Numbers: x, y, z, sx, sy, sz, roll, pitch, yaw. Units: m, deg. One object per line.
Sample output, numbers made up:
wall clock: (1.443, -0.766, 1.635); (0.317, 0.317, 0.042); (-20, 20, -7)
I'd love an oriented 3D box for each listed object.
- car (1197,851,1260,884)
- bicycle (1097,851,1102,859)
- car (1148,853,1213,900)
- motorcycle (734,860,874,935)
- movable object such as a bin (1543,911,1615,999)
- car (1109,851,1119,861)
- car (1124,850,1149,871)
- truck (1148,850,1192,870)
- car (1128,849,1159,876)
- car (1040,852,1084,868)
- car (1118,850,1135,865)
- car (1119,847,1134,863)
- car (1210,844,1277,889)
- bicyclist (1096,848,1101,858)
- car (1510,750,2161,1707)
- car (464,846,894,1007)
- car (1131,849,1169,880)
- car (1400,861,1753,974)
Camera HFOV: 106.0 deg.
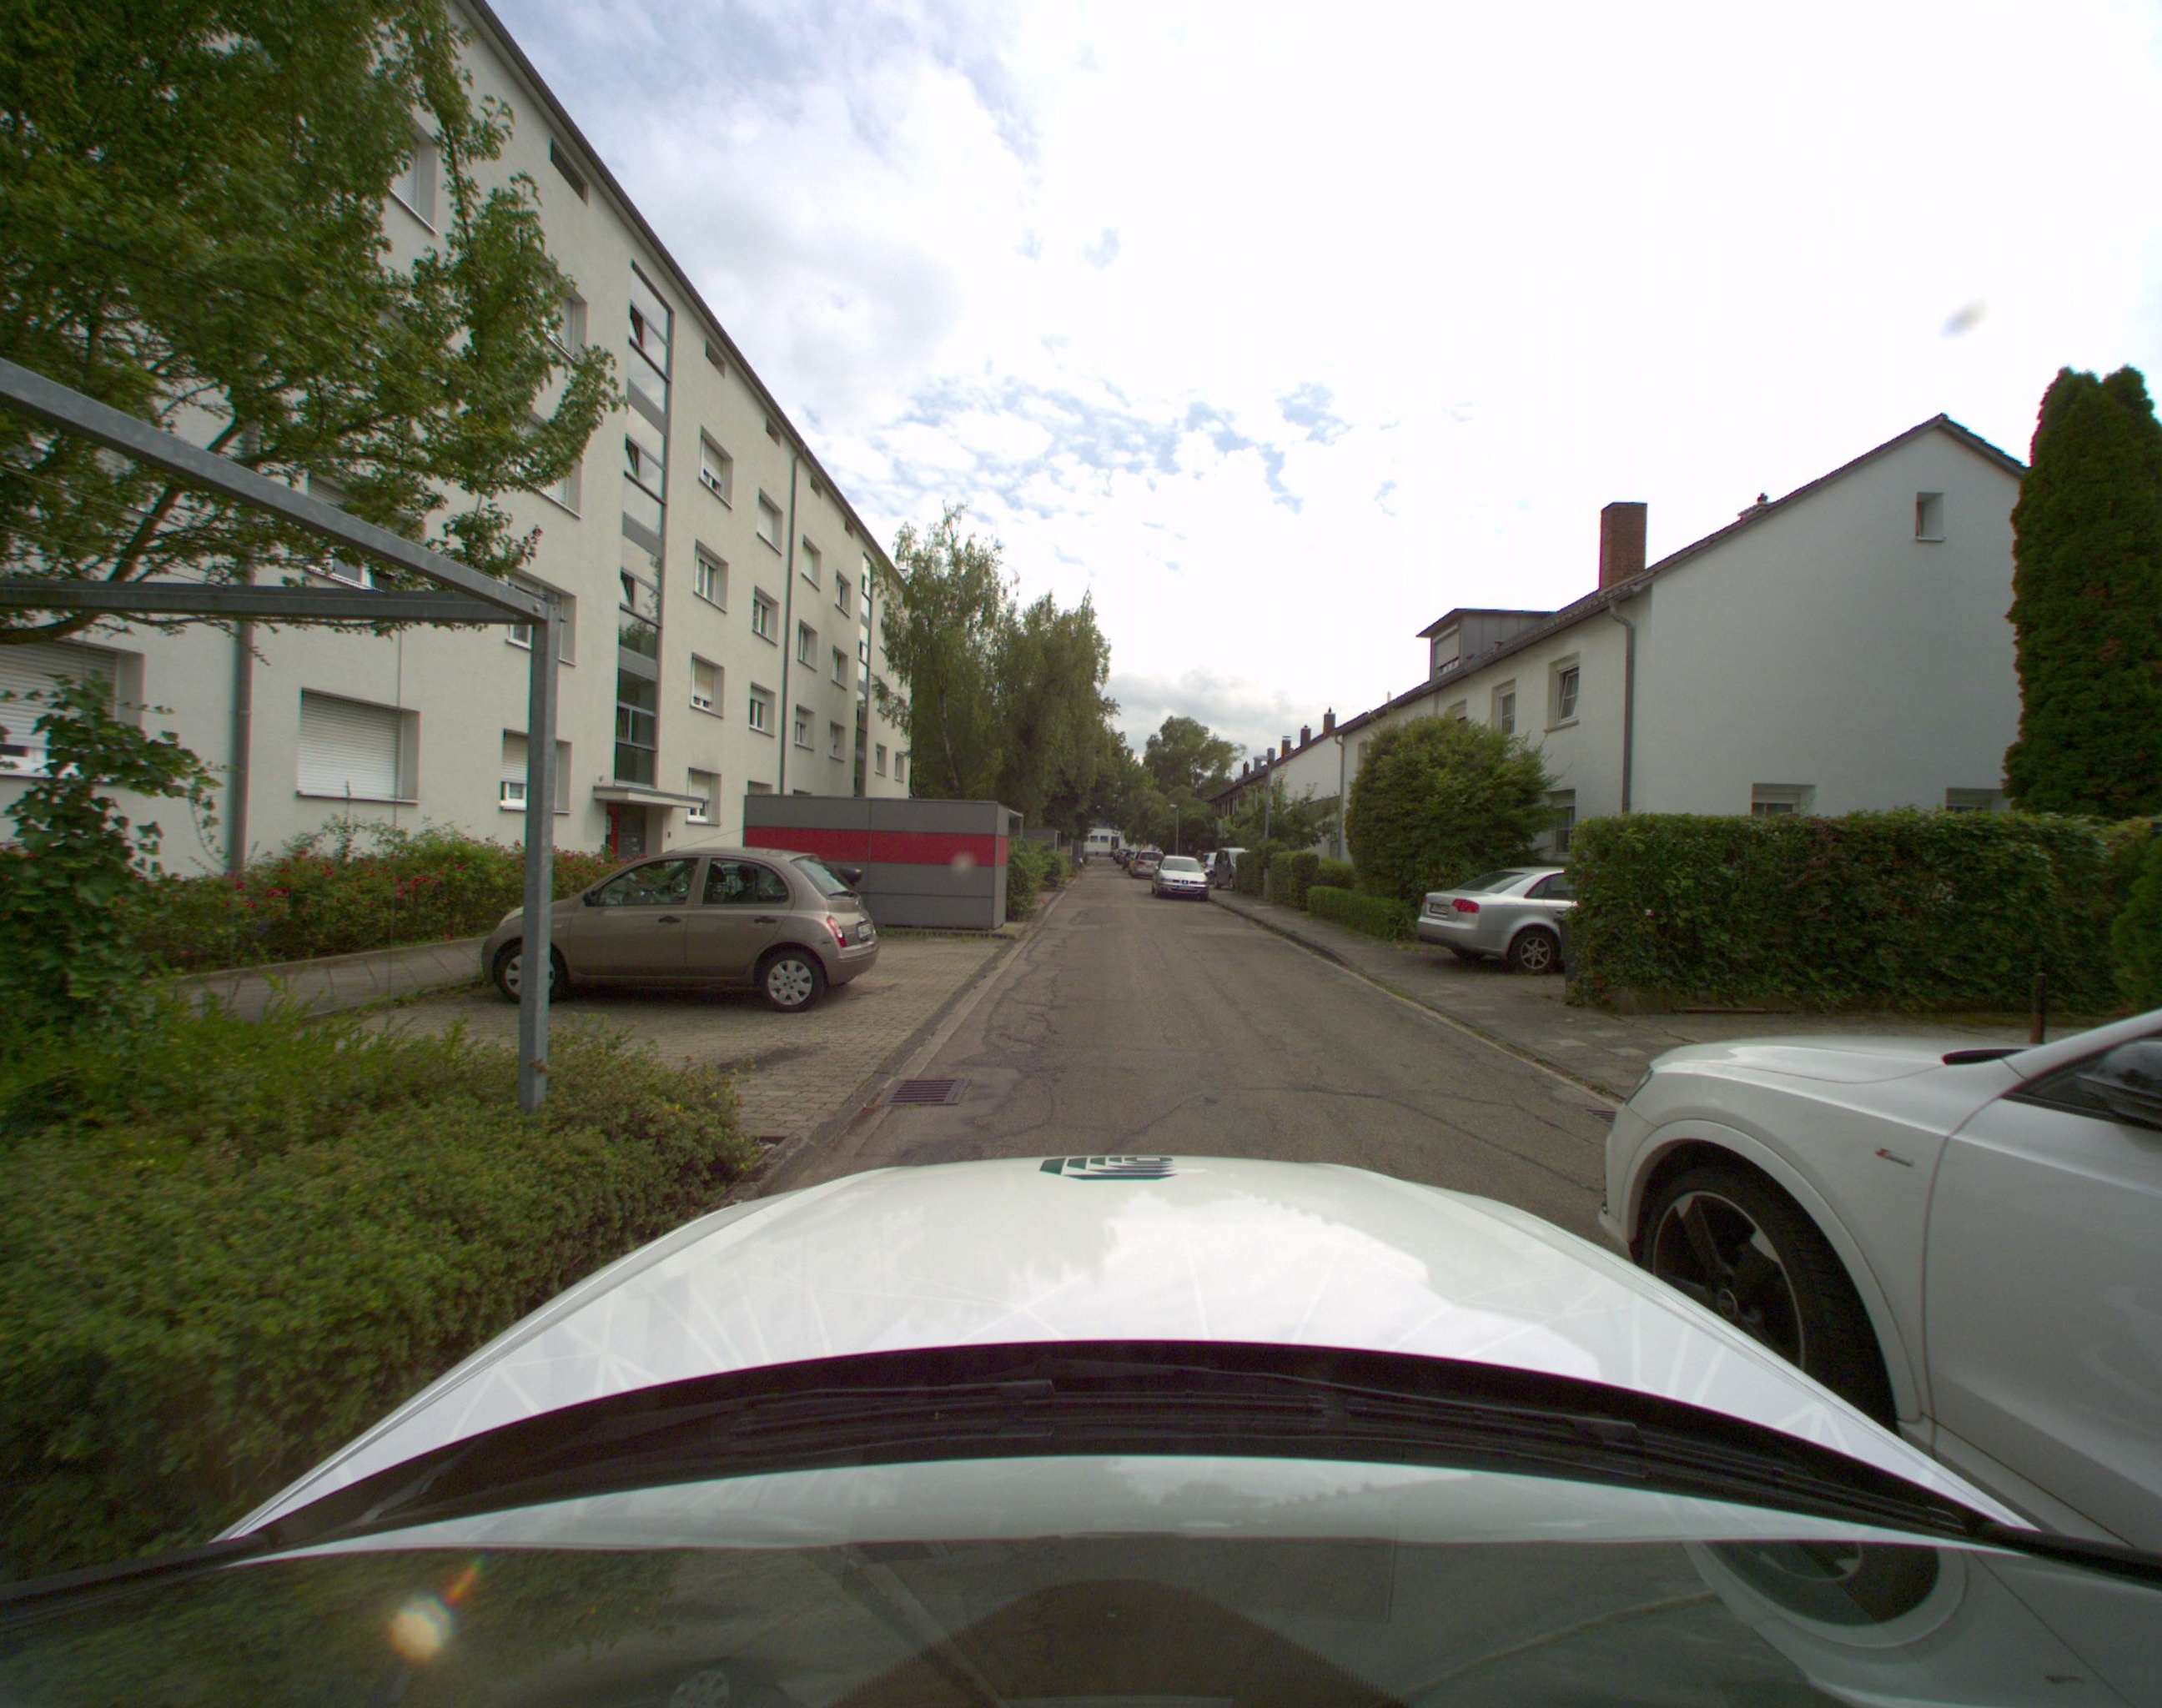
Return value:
car: (7.273, 0.645, 40.394); (2.808, 1.569, 1.740); (0, 0, -1)
bicycle: (3.018, 0.158, 132.148); (0.686, 1.131, 2.582); (3, 0, 4)
car: (3.365, 0.715, 28.243); (1.818, 1.370, 4.333); (4, 0, 2)
motorcycle: (-4.664, 0.723, 13.799); (2.134, 1.136, 0.635); (2, 2, 0)
movable object such as a bin: (5.666, 1.134, 9.281); (0.508, 0.921, 0.500); (2, 0, 1)
car: (5.859, 0.374, 144.670); (1.818, 1.581, 4.002); (4, 0, 2)
car: (4.546, 0.491, 67.021); (1.818, 1.581, 4.195); (4, 0, 2)
truck: (9.266, 0.609, 85.174); (4.375, 2.014, 2.000); (0, 0, 0)
car: (4.043, 0.549, 53.243); (1.818, 1.581, 4.002); (4, 0, 2)
car: (-1.723, 0.565, 74.976); (4.017, 1.394, 1.738); (1, 0, 0)
car: (5.108, 0.369, 92.147); (1.818, 1.581, 4.002); (4, 0, 2)
car: (5.786, 0.097, 103.803); (1.818, 1.883, 4.002); (4, 0, 2)
car: (6.820, 0.516, 34.624); (1.820, 1.777, 4.337); (-1, 0, -2)
bicyclist: (2.821, -0.194, 132.122); (0.795, 1.511, 0.935); (3, 0, 3)
car: (2.587, 0.702, 0.990); (1.820, 1.635, 4.160); (3, 0, -1)
car: (-3.902, 0.682, 8.419); (3.553, 1.480, 1.709); (1, 0, -3)
car: (3.928, 0.547, 46.828); (1.819, 1.581, 4.000); (4, 0, 0)
car: (6.913, 0.830, 11.627); (4.013, 1.427, 1.850); (0, 0, -5)
